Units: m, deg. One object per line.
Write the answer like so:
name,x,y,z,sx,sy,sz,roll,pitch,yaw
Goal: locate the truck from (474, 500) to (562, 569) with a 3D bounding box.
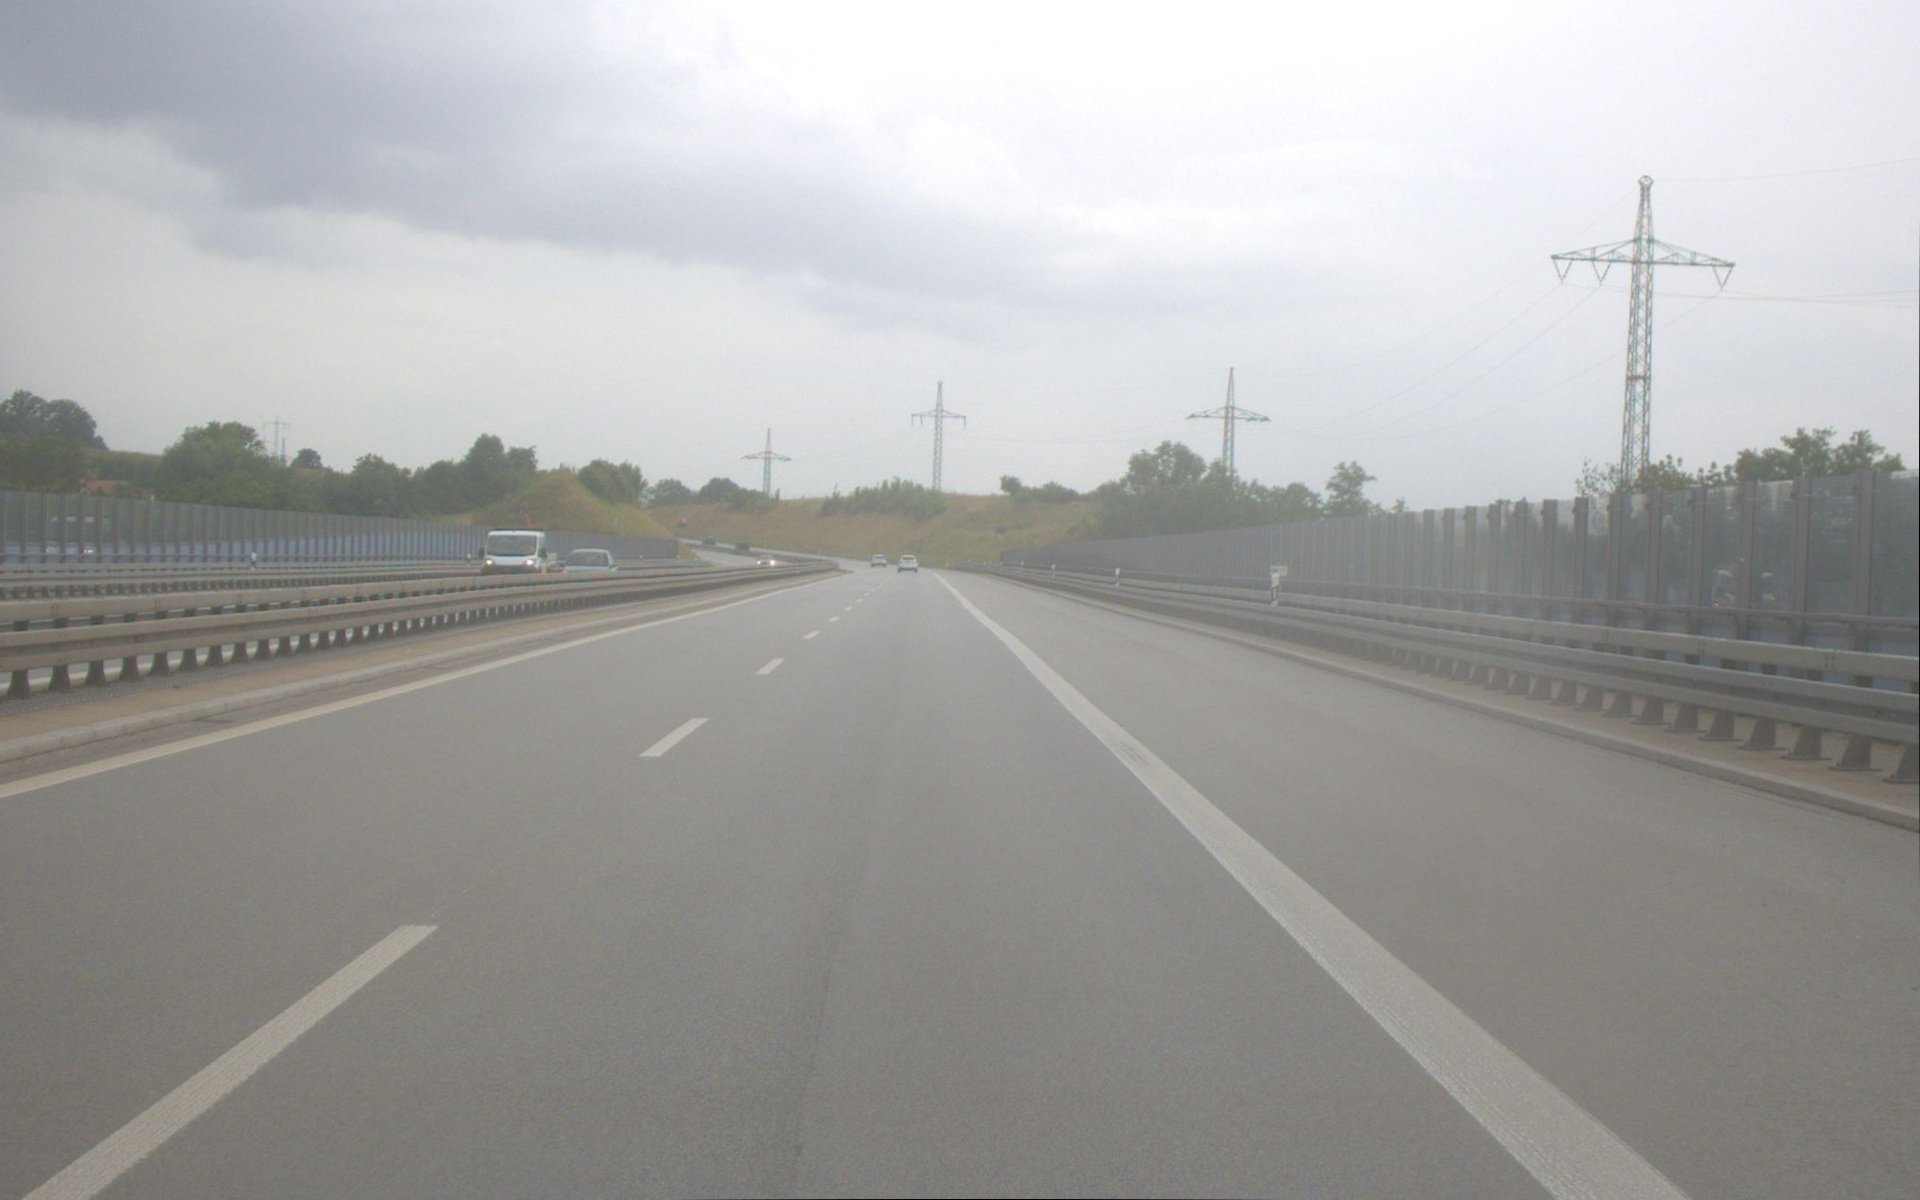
truck,-16.077,-2.373,125.480,2.272,2.423,7.452,1,1,0
